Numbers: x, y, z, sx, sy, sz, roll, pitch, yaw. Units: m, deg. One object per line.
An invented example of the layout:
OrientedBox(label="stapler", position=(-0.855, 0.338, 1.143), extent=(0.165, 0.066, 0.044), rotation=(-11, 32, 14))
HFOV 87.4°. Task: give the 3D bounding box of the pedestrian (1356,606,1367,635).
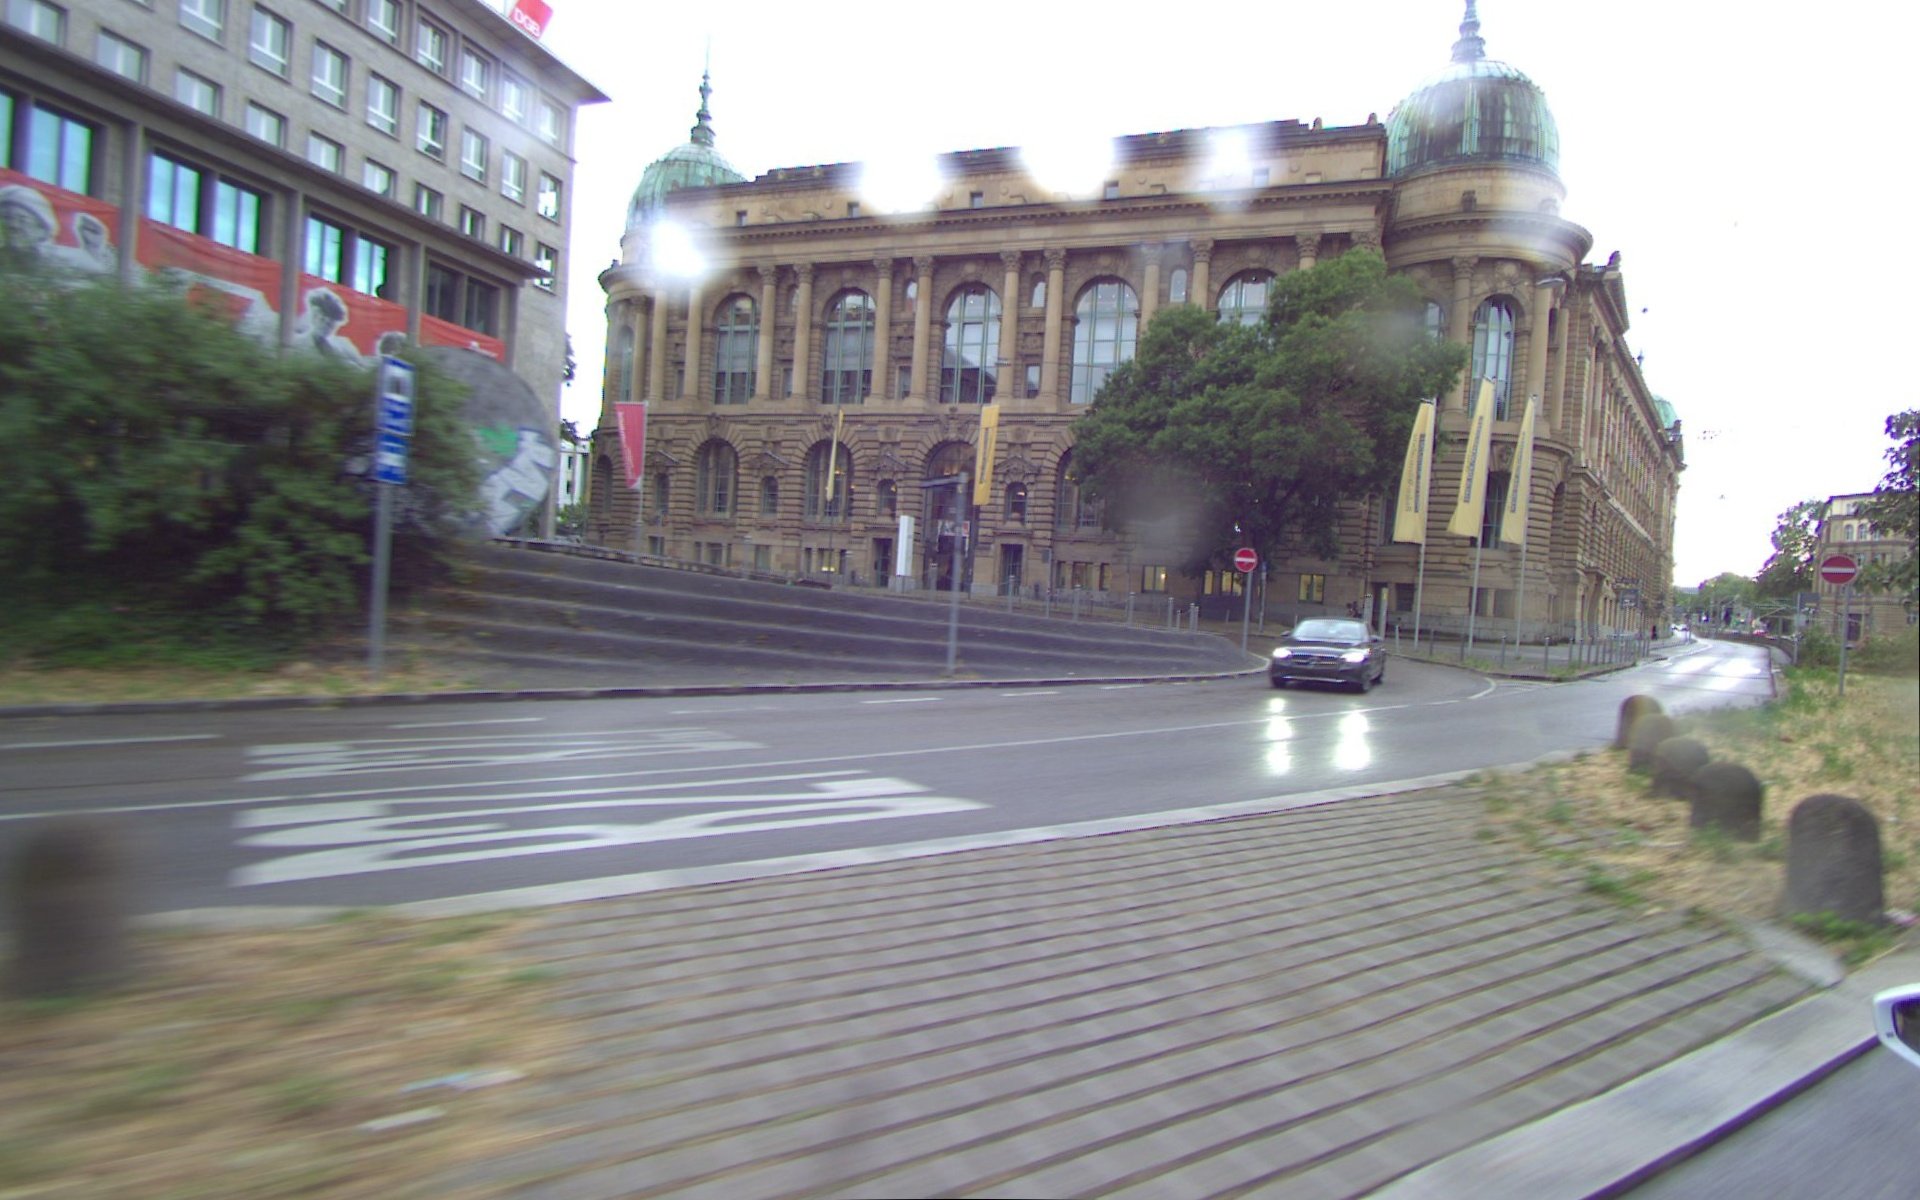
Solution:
OrientedBox(label="pedestrian", position=(19.099, 0.968, 47.813), extent=(0.379, 1.363, 0.441), rotation=(3, 1, 21))

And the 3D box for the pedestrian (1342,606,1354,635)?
OrientedBox(label="pedestrian", position=(18.892, 0.986, 48.925), extent=(0.433, 1.363, 0.644), rotation=(3, 1, 21))

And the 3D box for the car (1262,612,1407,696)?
OrientedBox(label="car", position=(8.182, 1.111, 21.666), extent=(1.965, 1.513, 4.831), rotation=(2, -1, 32))
